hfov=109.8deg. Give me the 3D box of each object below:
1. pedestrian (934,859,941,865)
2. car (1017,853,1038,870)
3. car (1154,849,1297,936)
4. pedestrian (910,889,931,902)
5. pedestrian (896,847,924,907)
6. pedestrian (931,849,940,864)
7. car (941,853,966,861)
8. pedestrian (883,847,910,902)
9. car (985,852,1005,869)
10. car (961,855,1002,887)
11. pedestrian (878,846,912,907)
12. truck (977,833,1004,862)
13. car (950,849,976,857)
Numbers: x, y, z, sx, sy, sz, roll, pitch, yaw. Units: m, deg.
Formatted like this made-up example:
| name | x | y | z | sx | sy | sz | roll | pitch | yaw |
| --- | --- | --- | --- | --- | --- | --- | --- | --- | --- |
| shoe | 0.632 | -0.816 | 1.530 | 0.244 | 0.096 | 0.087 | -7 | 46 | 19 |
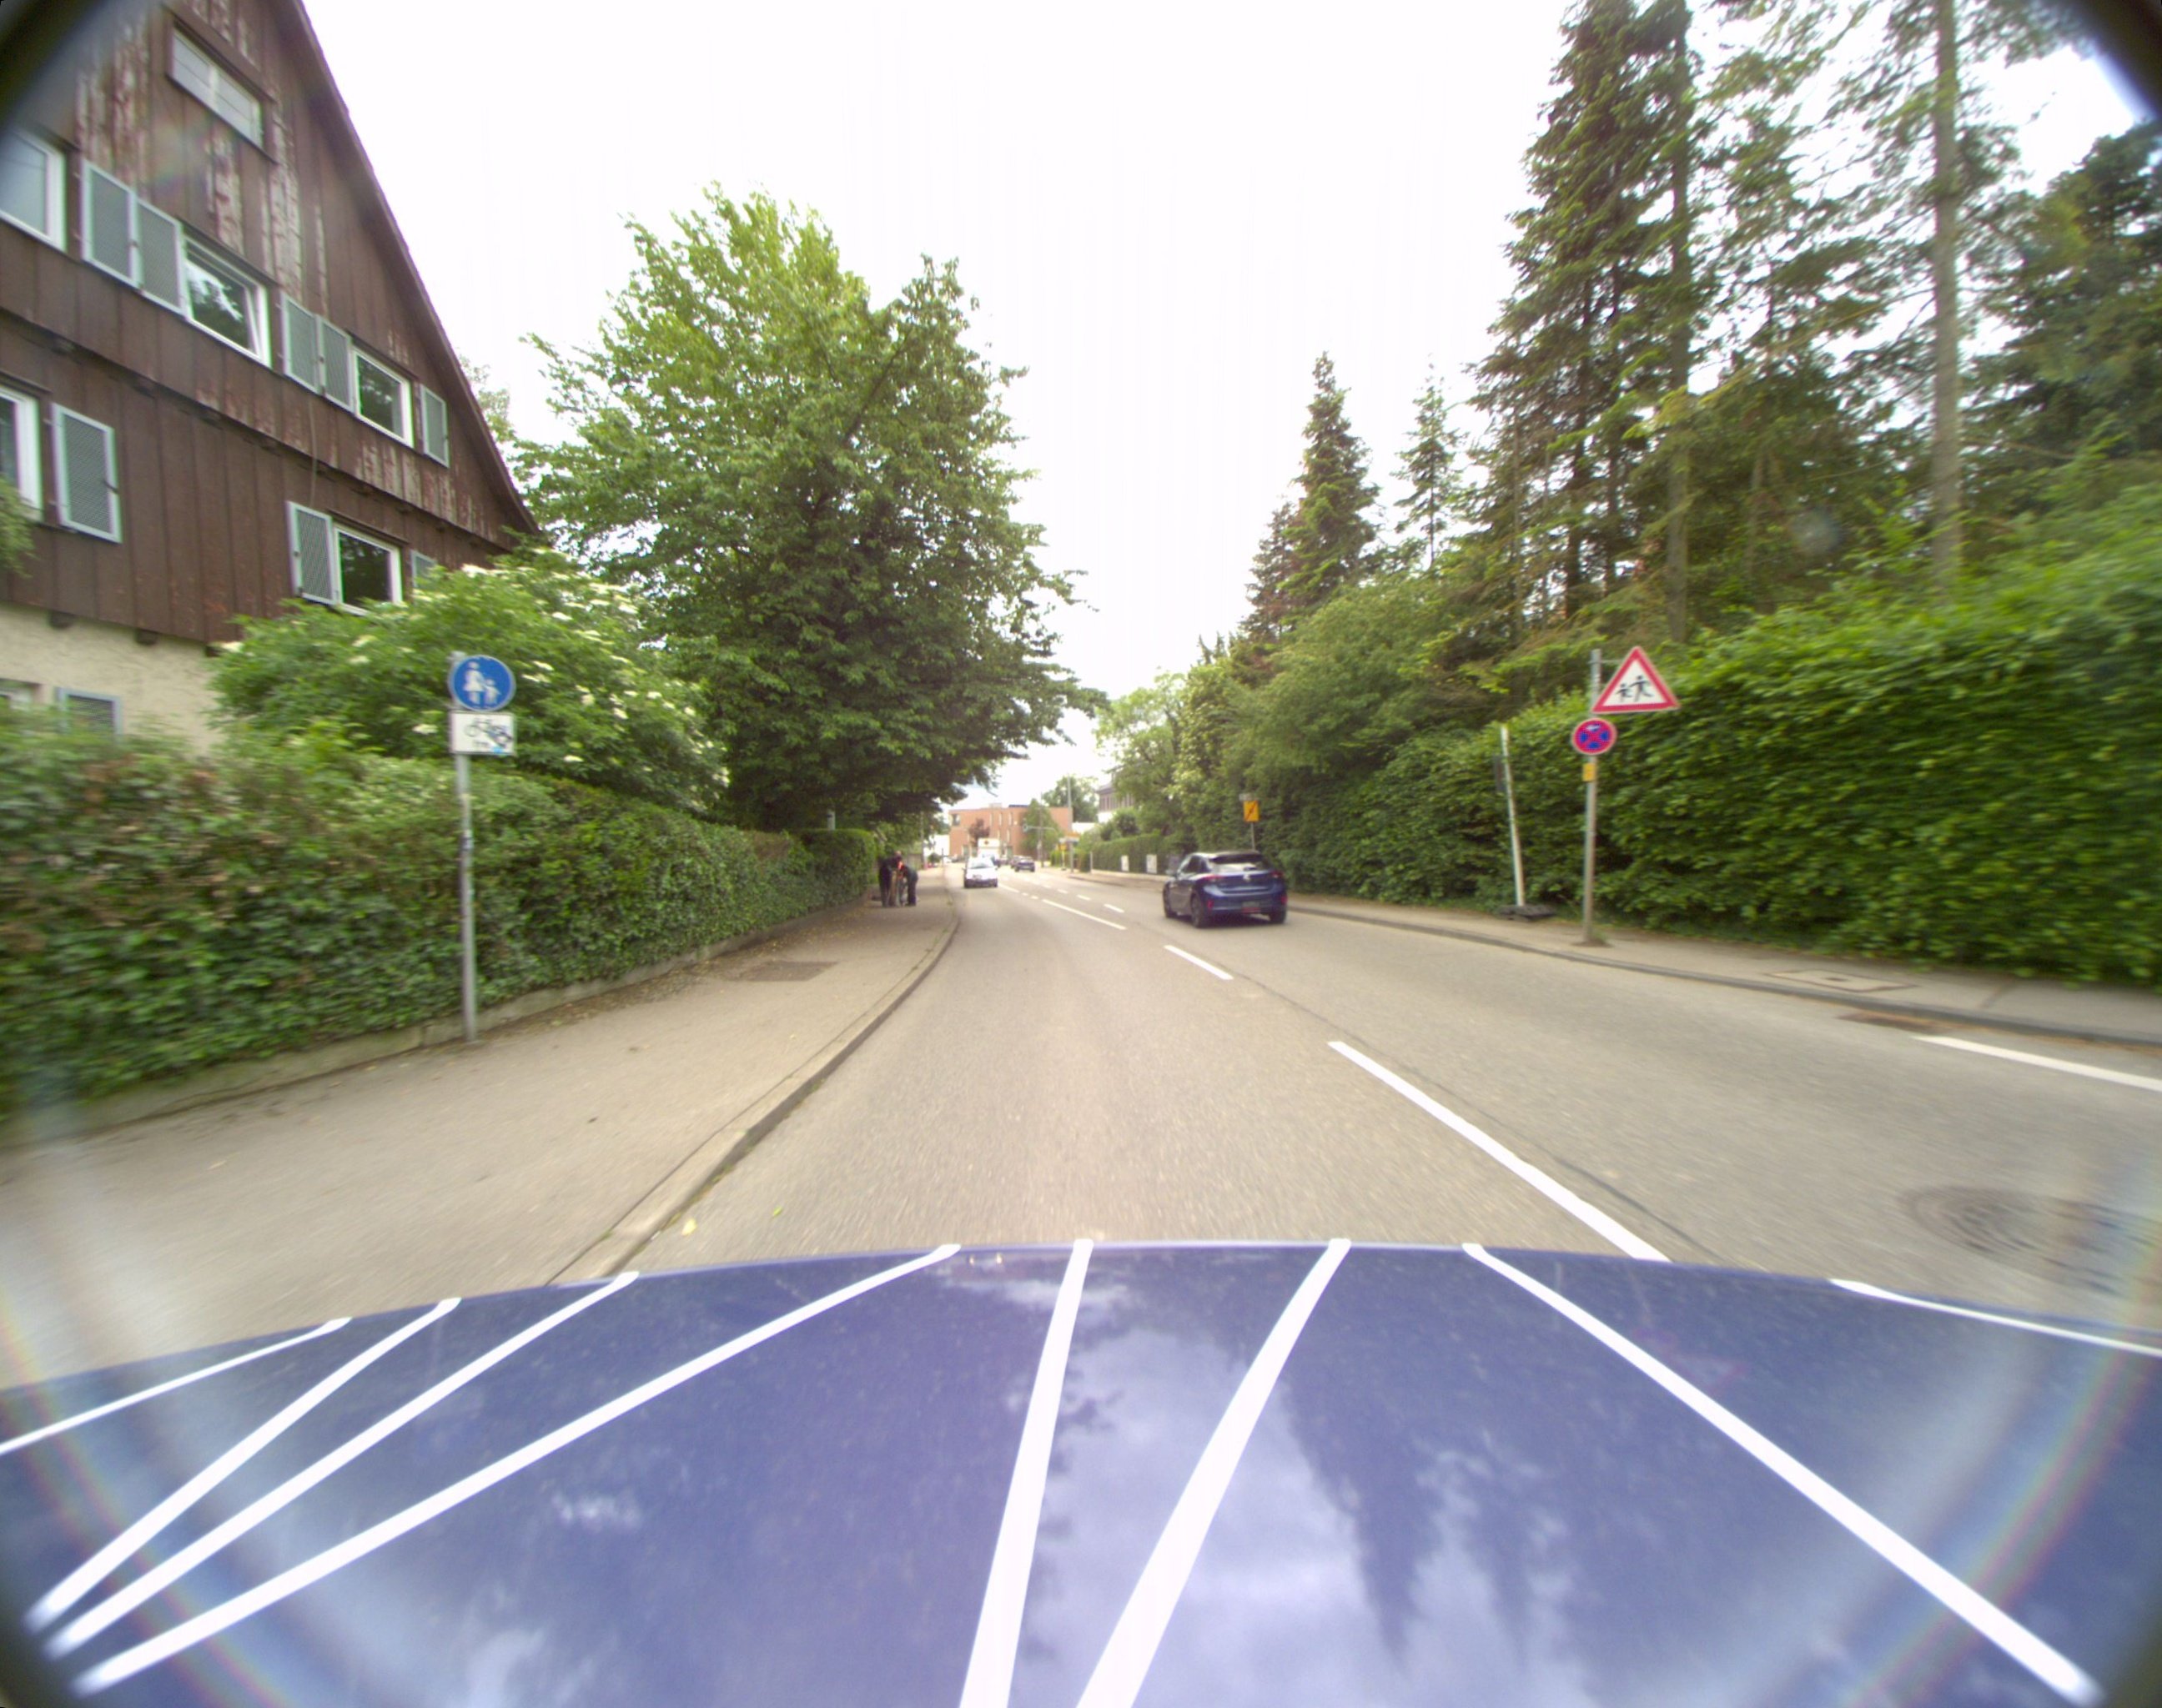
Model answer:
| name | x | y | z | sx | sy | sz | roll | pitch | yaw |
| --- | --- | --- | --- | --- | --- | --- | --- | --- | --- |
| pedestrian | -18.091 | 1.021 | 95.890 | 0.583 | 0.692 | 0.648 | 0 | 1 | 39 |
| car | -5.048 | 0.678 | 71.900 | 1.686 | 1.463 | 4.014 | -1 | 0 | -8 |
| car | 2.786 | 0.685 | 15.624 | 1.762 | 1.430 | 4.091 | -4 | 0 | -5 |
| pedestrian | -5.507 | 1.413 | 26.037 | 0.674 | 0.391 | 0.740 | -1 | 0 | -11 |
| pedestrian | -5.166 | 0.680 | 22.968 | 0.600 | 1.797 | 0.520 | -1 | 1 | 30 |
| pedestrian | -18.531 | 0.348 | 96.953 | 0.850 | 1.912 | 0.799 | -1 | 1 | -30 |
| car | -25.254 | 0.535 | 151.030 | 4.444 | 1.549 | 1.995 | -1 | 0 | -34 |
| pedestrian | -6.148 | 0.678 | 25.305 | 0.809 | 1.797 | 0.740 | -1 | 1 | -11 |
| car | -9.000 | 0.634 | 79.172 | 1.812 | 1.707 | 4.374 | -1 | 0 | -10 |
| car | -5.494 | 0.863 | 41.519 | 2.000 | 1.587 | 3.996 | -2 | 0 | -11 |
| pedestrian | -5.584 | 0.672 | 22.793 | 0.671 | 1.797 | 0.692 | 0 | 1 | 39 |
| truck | -11.277 | -0.906 | 94.345 | 2.787 | 3.442 | 7.485 | -1 | 2 | -10 |
| car | -22.957 | -0.168 | 147.712 | 4.444 | 1.549 | 1.995 | -1 | 0 | -34 |
